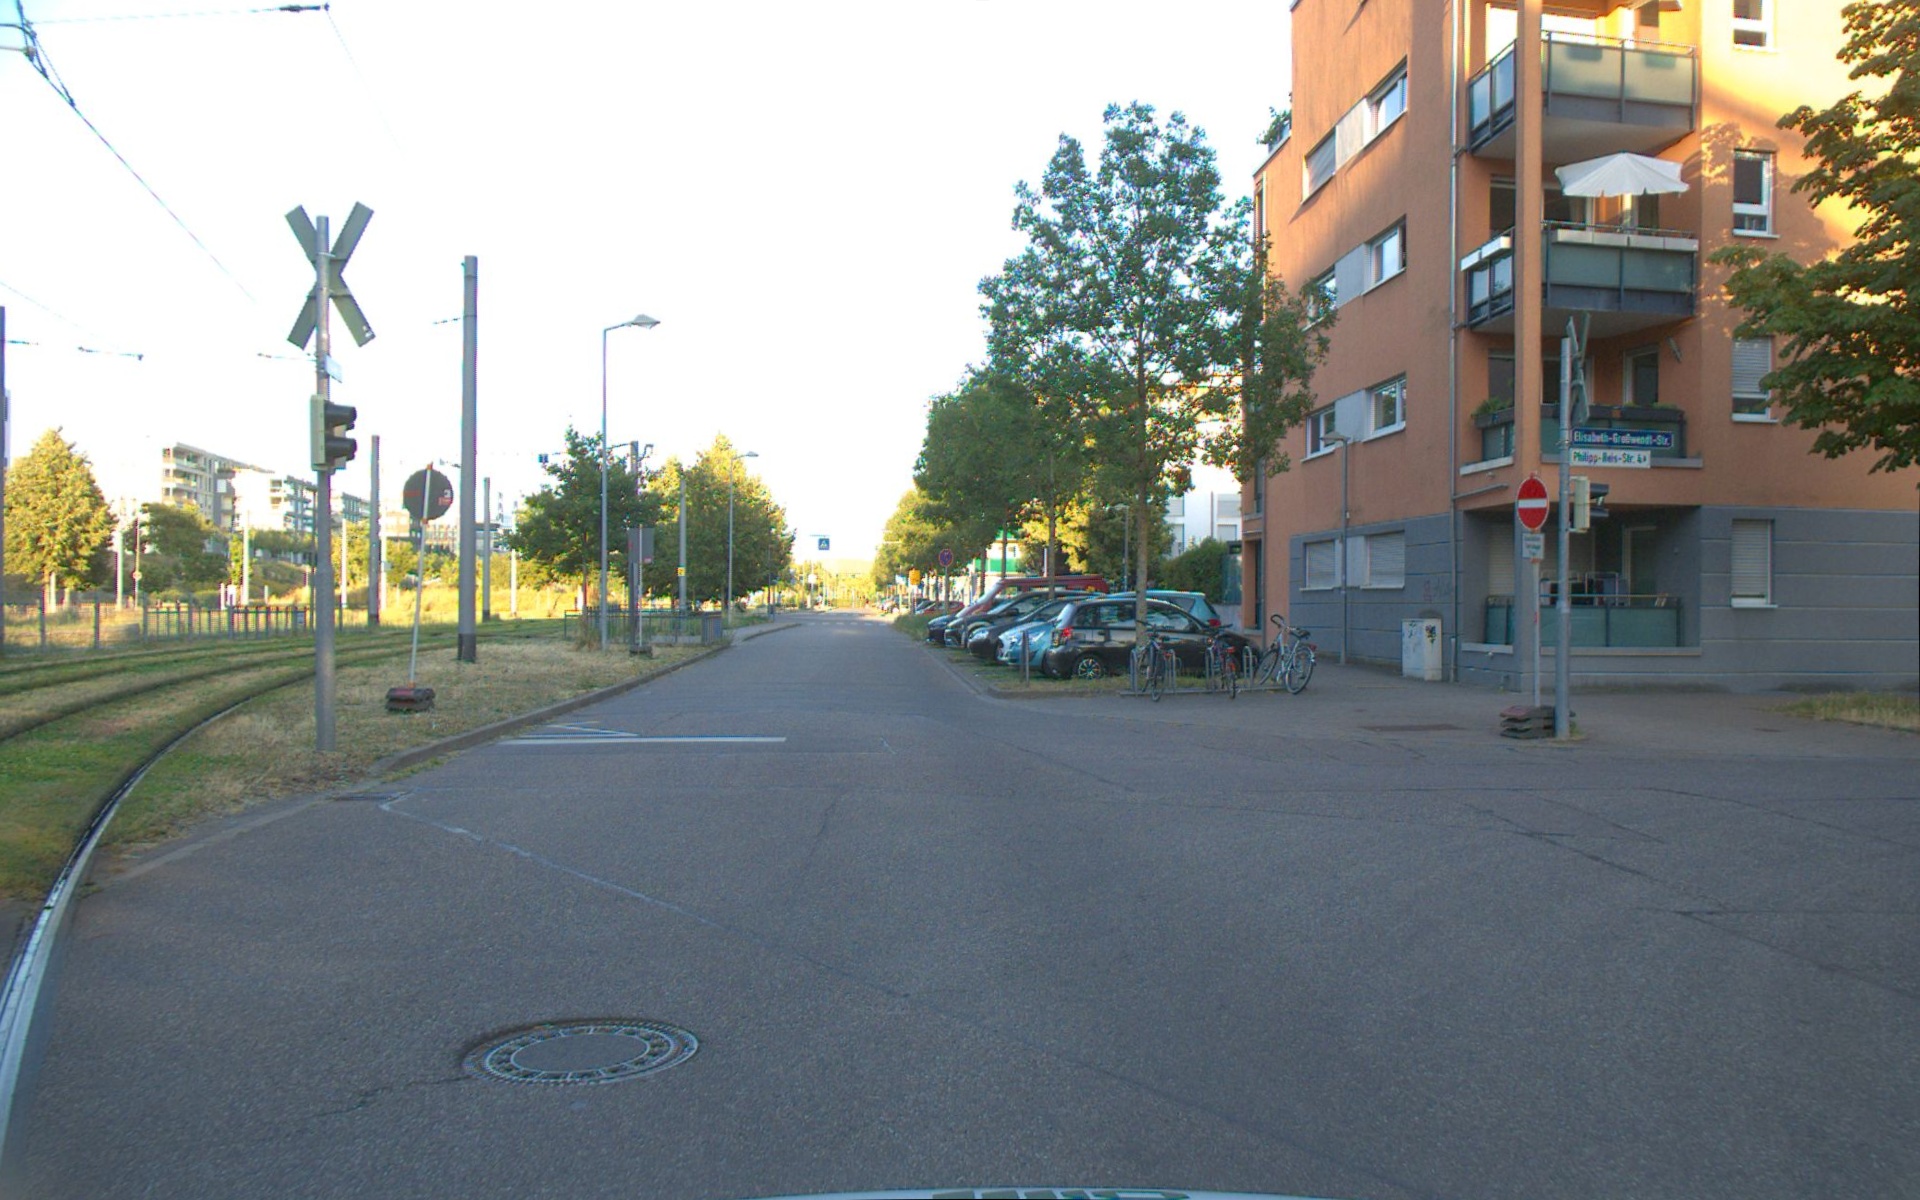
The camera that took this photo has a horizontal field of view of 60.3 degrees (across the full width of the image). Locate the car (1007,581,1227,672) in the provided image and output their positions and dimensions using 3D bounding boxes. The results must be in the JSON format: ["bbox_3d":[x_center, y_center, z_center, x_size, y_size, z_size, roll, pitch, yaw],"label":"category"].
[{"bbox_3d":[2.971,0.484,31.739,3.970,1.596,1.672,-1,0,-4],"label":"car"}]

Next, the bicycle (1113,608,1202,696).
[{"bbox_3d":[2.949,0.754,24.875,0.704,1.172,1.892,-2,3,-14],"label":"bicycle"}]

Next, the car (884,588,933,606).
[{"bbox_3d":[-4.699,-0.254,150.722,4.394,1.624,1.999,0,0,-3],"label":"car"}]

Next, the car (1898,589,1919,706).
[{"bbox_3d":[14.616,0.679,21.051,1.959,1.622,4.800,1,0,-12],"label":"car"}]

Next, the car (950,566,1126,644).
[{"bbox_3d":[2.168,0.125,46.952,4.821,2.154,2.016,0,0,-3],"label":"car"}]

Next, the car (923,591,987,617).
[{"bbox_3d":[-0.323,0.220,100.490,3.729,1.535,1.677,0,0,-6],"label":"car"}]

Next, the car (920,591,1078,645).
[{"bbox_3d":[1.133,0.519,49.404,4.577,1.584,1.810,0,0,-5],"label":"car"}]

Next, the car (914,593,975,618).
[{"bbox_3d":[-0.984,0.354,103.162,3.729,1.535,1.677,0,0,-6],"label":"car"}]

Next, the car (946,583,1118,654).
[{"bbox_3d":[1.781,0.442,41.685,4.132,1.596,1.791,-2,0,-4],"label":"car"}]

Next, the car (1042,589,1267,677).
[{"bbox_3d":[3.407,0.563,29.313,3.679,1.499,1.610,0,0,-9],"label":"car"}]

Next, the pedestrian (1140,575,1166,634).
[{"bbox_3d":[5.861,0.128,50.190,0.655,1.773,0.699,0,0,-4],"label":"pedestrian"}]

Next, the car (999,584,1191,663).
[{"bbox_3d":[2.767,0.472,34.472,3.800,1.596,1.619,0,0,-4],"label":"car"}]

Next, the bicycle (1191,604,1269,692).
[{"bbox_3d":[4.015,0.694,24.737,0.666,1.172,1.926,-2,2,-5],"label":"bicycle"}]

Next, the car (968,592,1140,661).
[{"bbox_3d":[2.064,0.606,37.051,3.699,1.522,1.537,0,-2,-4],"label":"car"}]

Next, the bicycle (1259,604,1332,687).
[{"bbox_3d":[5.133,0.681,25.433,0.519,1.146,1.961,1,2,-5],"label":"bicycle"}]
